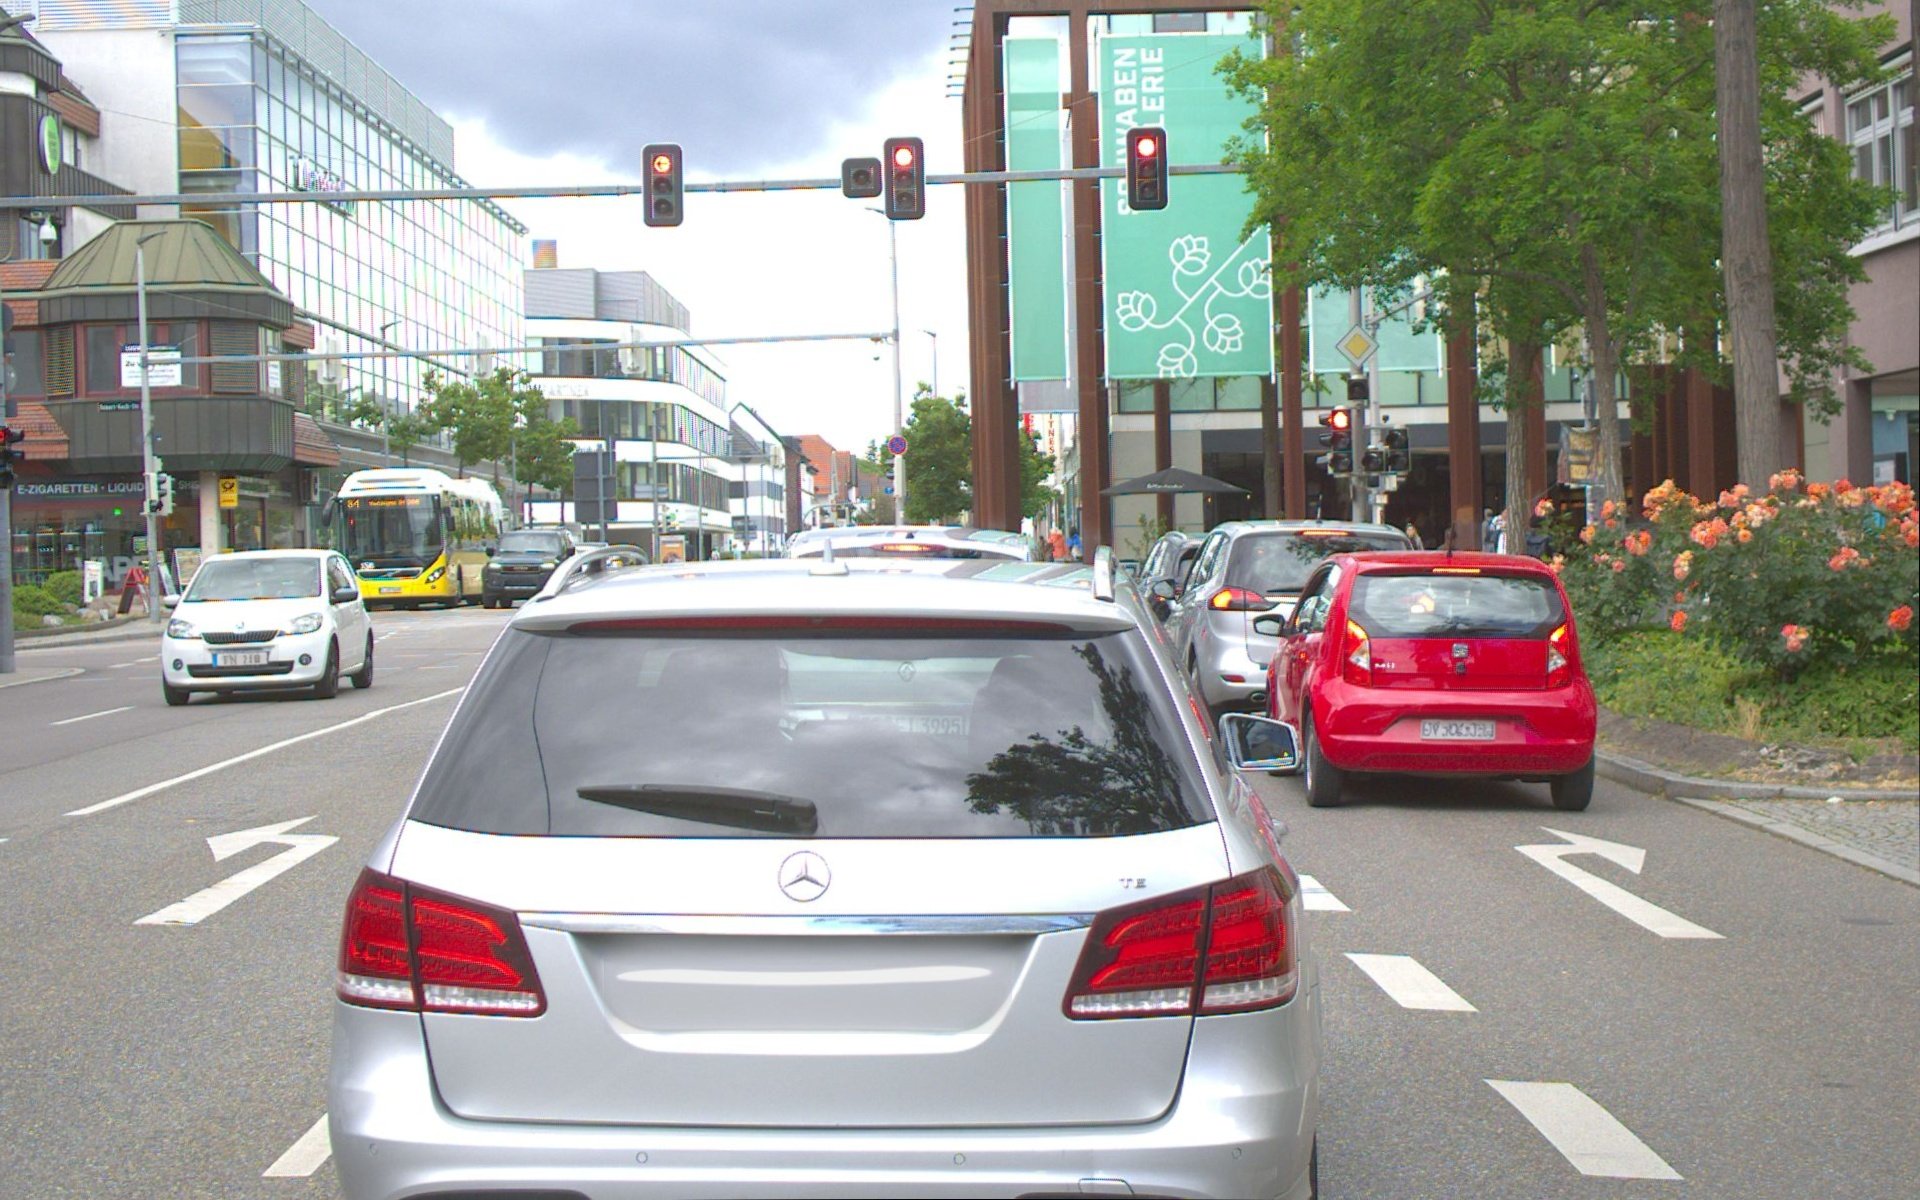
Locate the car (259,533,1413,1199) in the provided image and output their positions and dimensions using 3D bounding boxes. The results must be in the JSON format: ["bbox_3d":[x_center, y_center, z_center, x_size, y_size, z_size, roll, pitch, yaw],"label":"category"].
[{"bbox_3d":[-0.209,0.602,7.647,1.815,1.443,4.369,1,1,0],"label":"car"}]

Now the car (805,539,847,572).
[{"bbox_3d":[-6.467,-2.153,166.155,1.801,1.535,4.065,-1,1,1],"label":"car"}]

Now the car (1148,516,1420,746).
[{"bbox_3d":[2.436,0.186,26.662,1.586,1.628,3.917,1,1,-2],"label":"car"}]

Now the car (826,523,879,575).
[{"bbox_3d":[-4.181,-1.999,134.041,1.993,1.942,4.951,-1,1,-1],"label":"car"}]

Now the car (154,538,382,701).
[{"bbox_3d":[-6.789,0.152,34.011,1.574,1.483,3.464,-2,1,-1],"label":"car"}]

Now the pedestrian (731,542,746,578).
[{"bbox_3d":[-10.587,-1.918,164.422,0.520,1.728,0.488,0,1,32],"label":"pedestrian"}]

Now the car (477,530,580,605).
[{"bbox_3d":[-10.156,-0.779,81.134,1.993,1.700,4.065,-1,1,-1],"label":"car"}]

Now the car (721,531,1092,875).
[{"bbox_3d":[-0.253,0.425,16.977,1.640,1.522,3.394,0,1,-1],"label":"car"}]

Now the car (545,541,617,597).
[{"bbox_3d":[-9.759,-0.815,88.712,1.555,1.387,3.288,-1,1,-1],"label":"car"}]

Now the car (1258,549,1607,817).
[{"bbox_3d":[2.746,0.435,20.613,1.586,1.438,3.348,1,1,0],"label":"car"}]

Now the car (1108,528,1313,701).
[{"bbox_3d":[2.414,0.100,33.938,1.586,1.589,3.868,1,1,-2],"label":"car"}]

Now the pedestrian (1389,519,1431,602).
[{"bbox_3d":[9.057,-0.803,69.191,0.651,1.645,0.559,-1,1,-15],"label":"pedestrian"}]

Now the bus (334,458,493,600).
[{"bbox_3d":[-13.236,-1.721,83.897,2.686,3.250,8.654,-1,1,-1],"label":"bus"}]
